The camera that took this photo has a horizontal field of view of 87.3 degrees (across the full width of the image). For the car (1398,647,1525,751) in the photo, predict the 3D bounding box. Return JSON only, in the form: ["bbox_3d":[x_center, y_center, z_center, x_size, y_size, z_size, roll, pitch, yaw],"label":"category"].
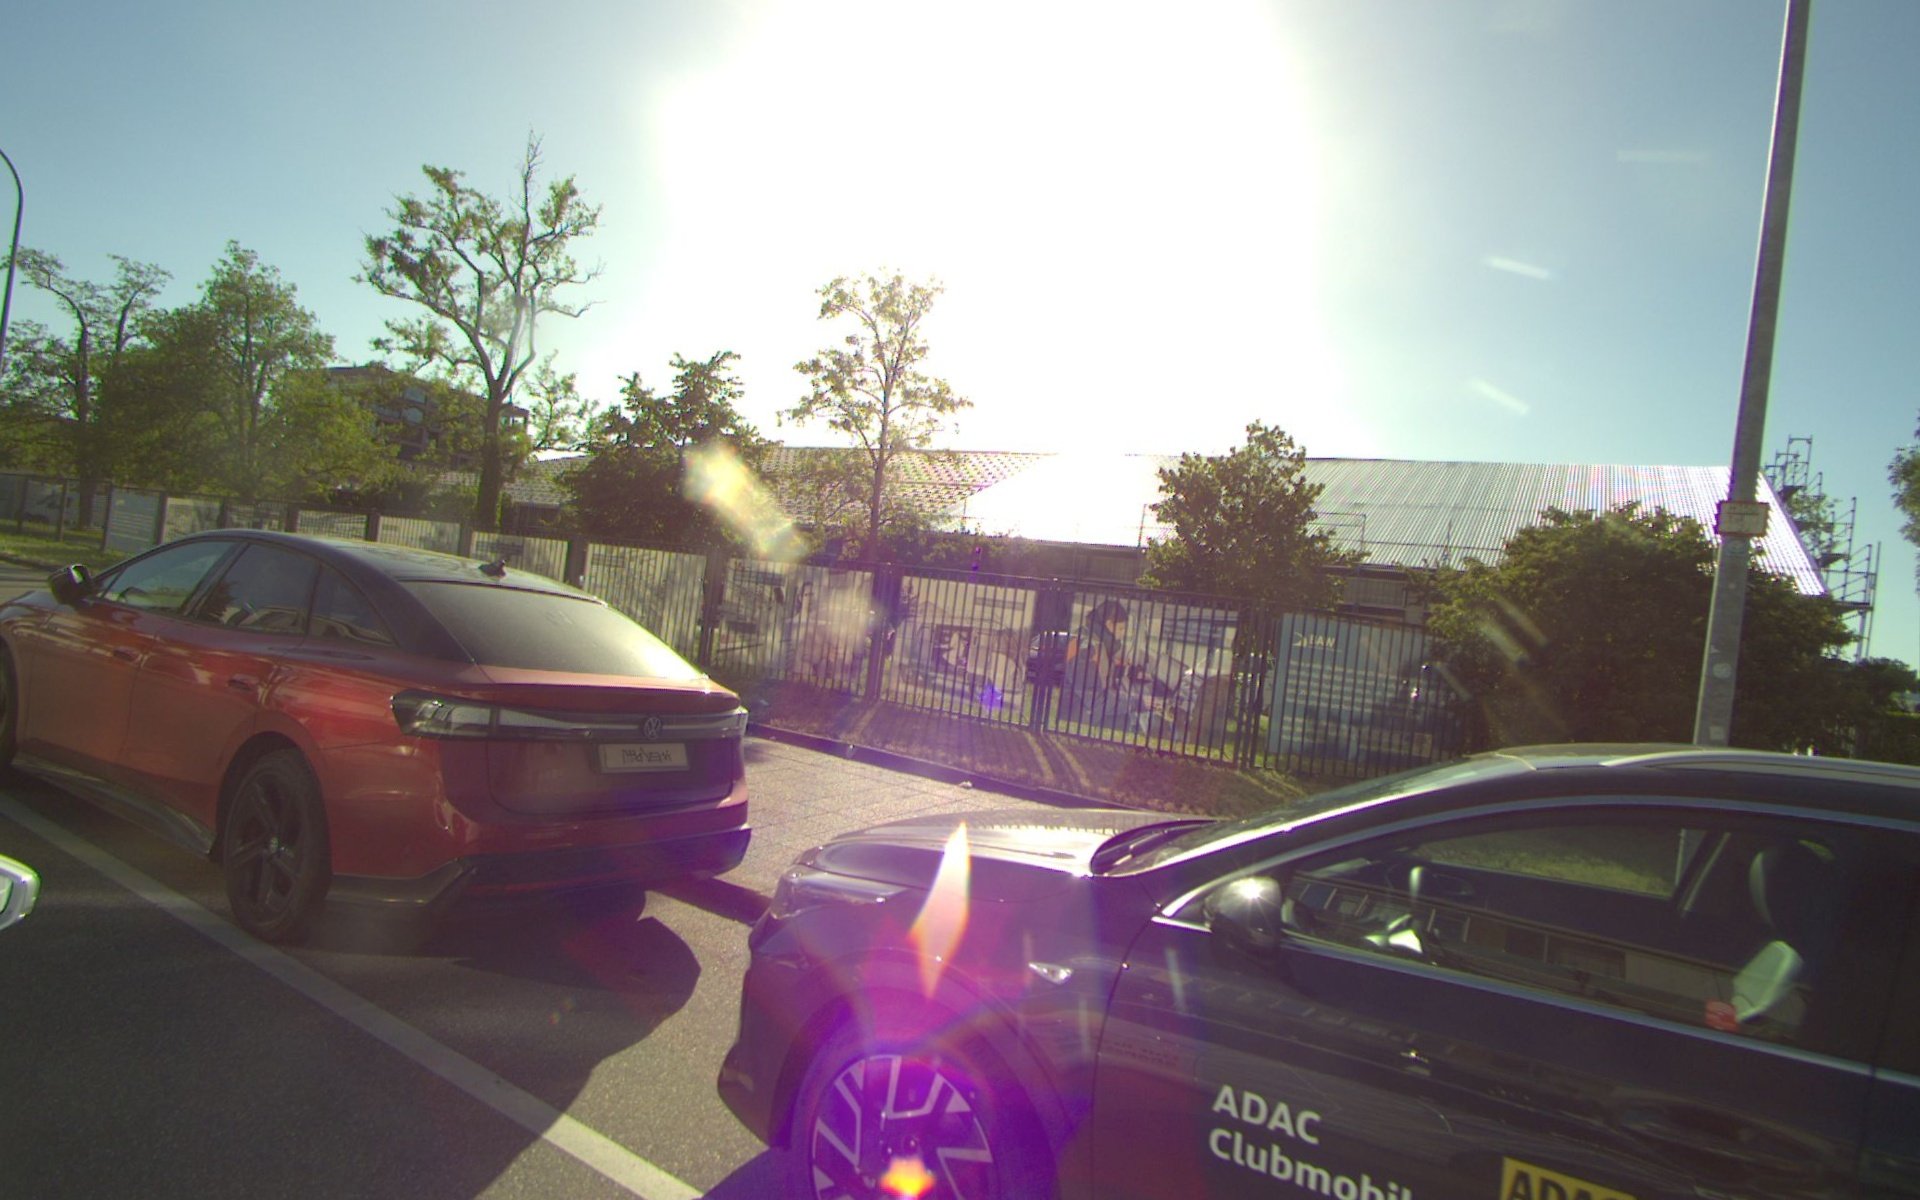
[{"bbox_3d":[10.453,2.025,21.114,1.965,1.688,4.641,7,-1,26],"label":"car"}]

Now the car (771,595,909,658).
[{"bbox_3d":[-3.373,0.814,29.137,1.797,1.265,4.156,7,-3,29],"label":"car"}]

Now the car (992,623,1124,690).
[{"bbox_3d":[2.653,1.518,26.201,1.847,1.265,4.156,7,-3,29],"label":"car"}]

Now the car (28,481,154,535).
[{"bbox_3d":[-52.009,-5.476,60.336,1.969,2.228,5.286,8,-1,37],"label":"car"}]

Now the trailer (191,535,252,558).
[{"bbox_3d":[-46.333,-3.365,63.052,5.035,0.930,1.897,6,-2,40],"label":"trailer"}]

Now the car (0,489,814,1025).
[{"bbox_3d":[-3.226,0.451,5.166,4.642,1.527,1.814,7,-2,30],"label":"car"}]

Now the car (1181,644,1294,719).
[{"bbox_3d":[6.624,1.922,23.755,1.646,1.396,3.897,7,-1,28],"label":"car"}]

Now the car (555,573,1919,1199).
[{"bbox_3d":[1.245,0.984,2.296,4.144,1.504,1.705,7,-2,30],"label":"car"}]
